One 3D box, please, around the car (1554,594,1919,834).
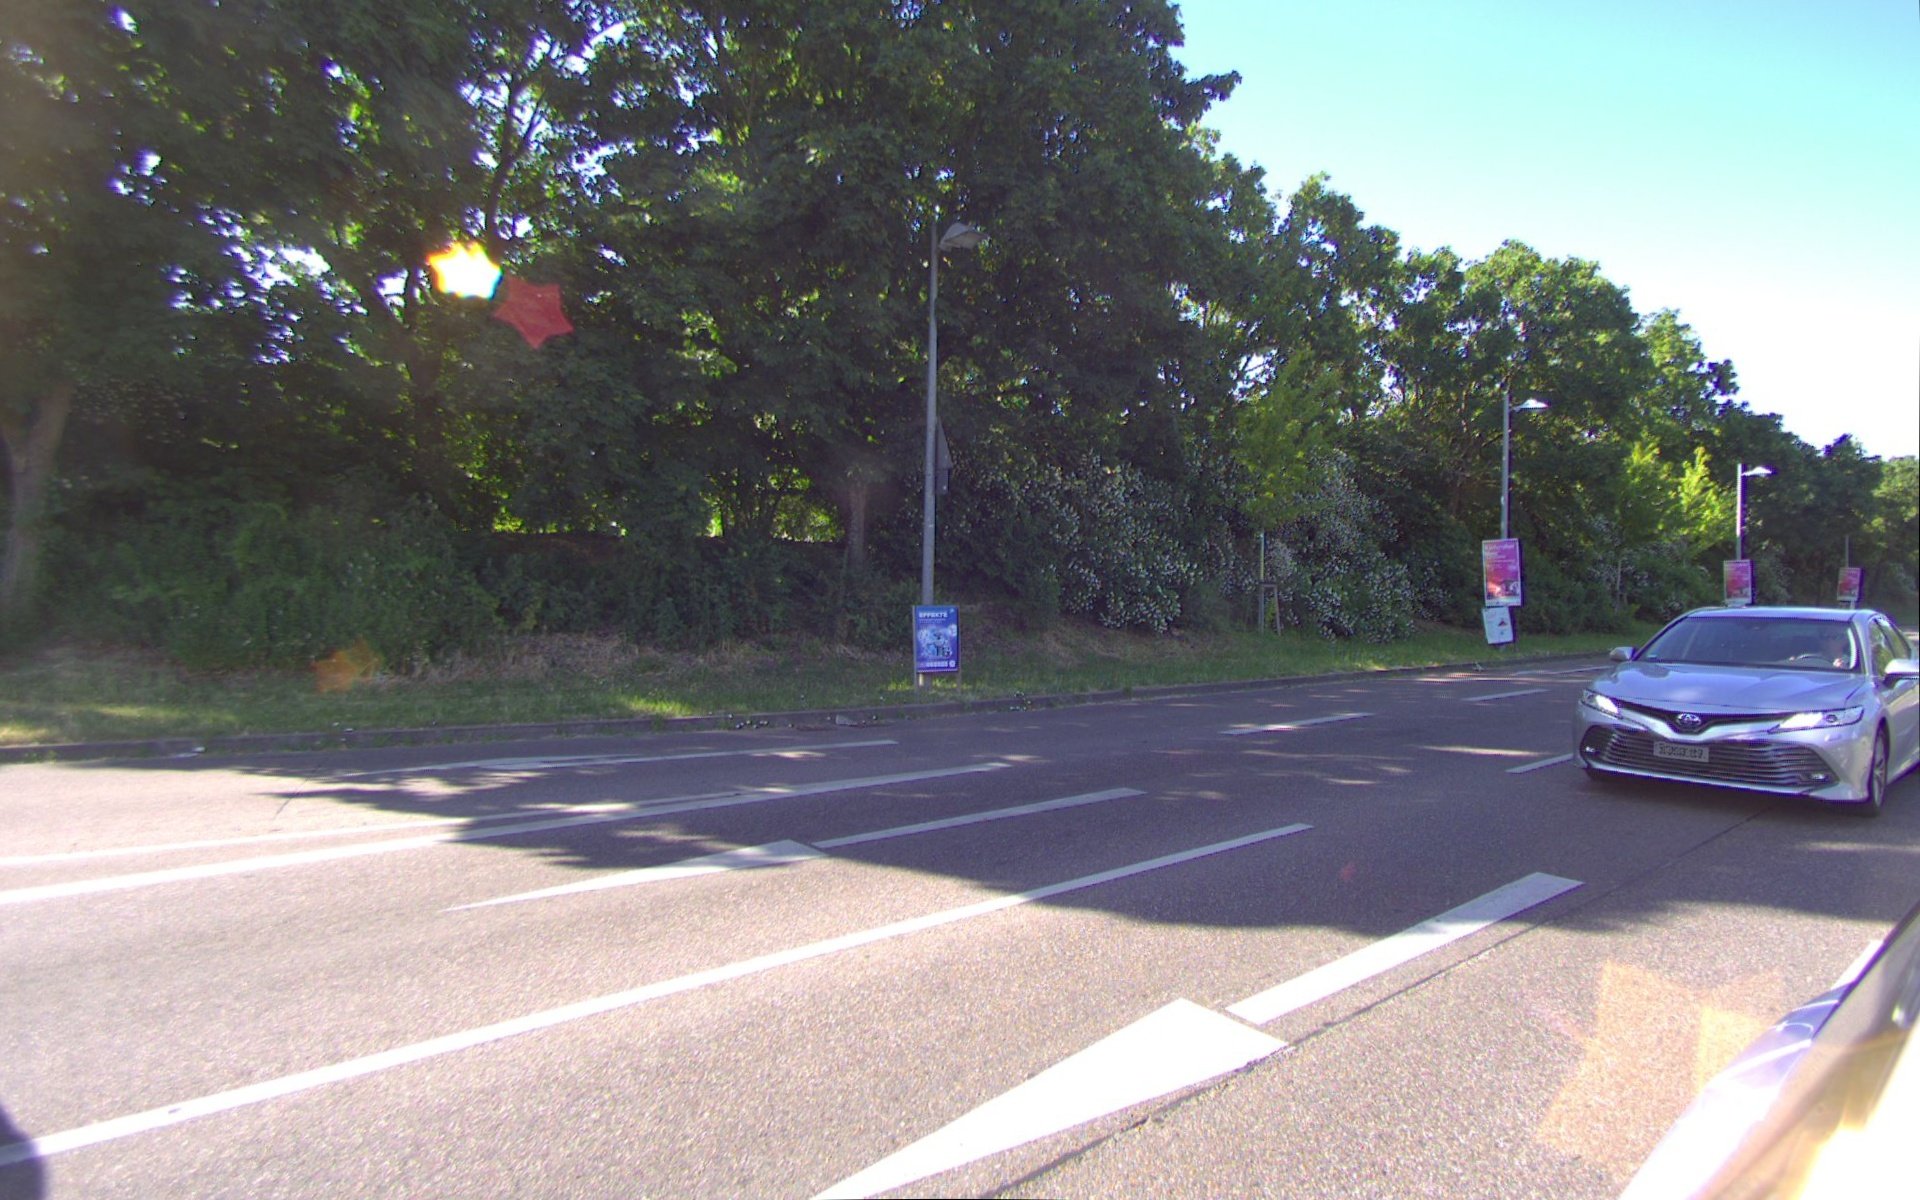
[{"bbox_3d":[6.899,0.701,8.491,4.512,1.454,1.875,0,1,-40],"label":"car"}]
